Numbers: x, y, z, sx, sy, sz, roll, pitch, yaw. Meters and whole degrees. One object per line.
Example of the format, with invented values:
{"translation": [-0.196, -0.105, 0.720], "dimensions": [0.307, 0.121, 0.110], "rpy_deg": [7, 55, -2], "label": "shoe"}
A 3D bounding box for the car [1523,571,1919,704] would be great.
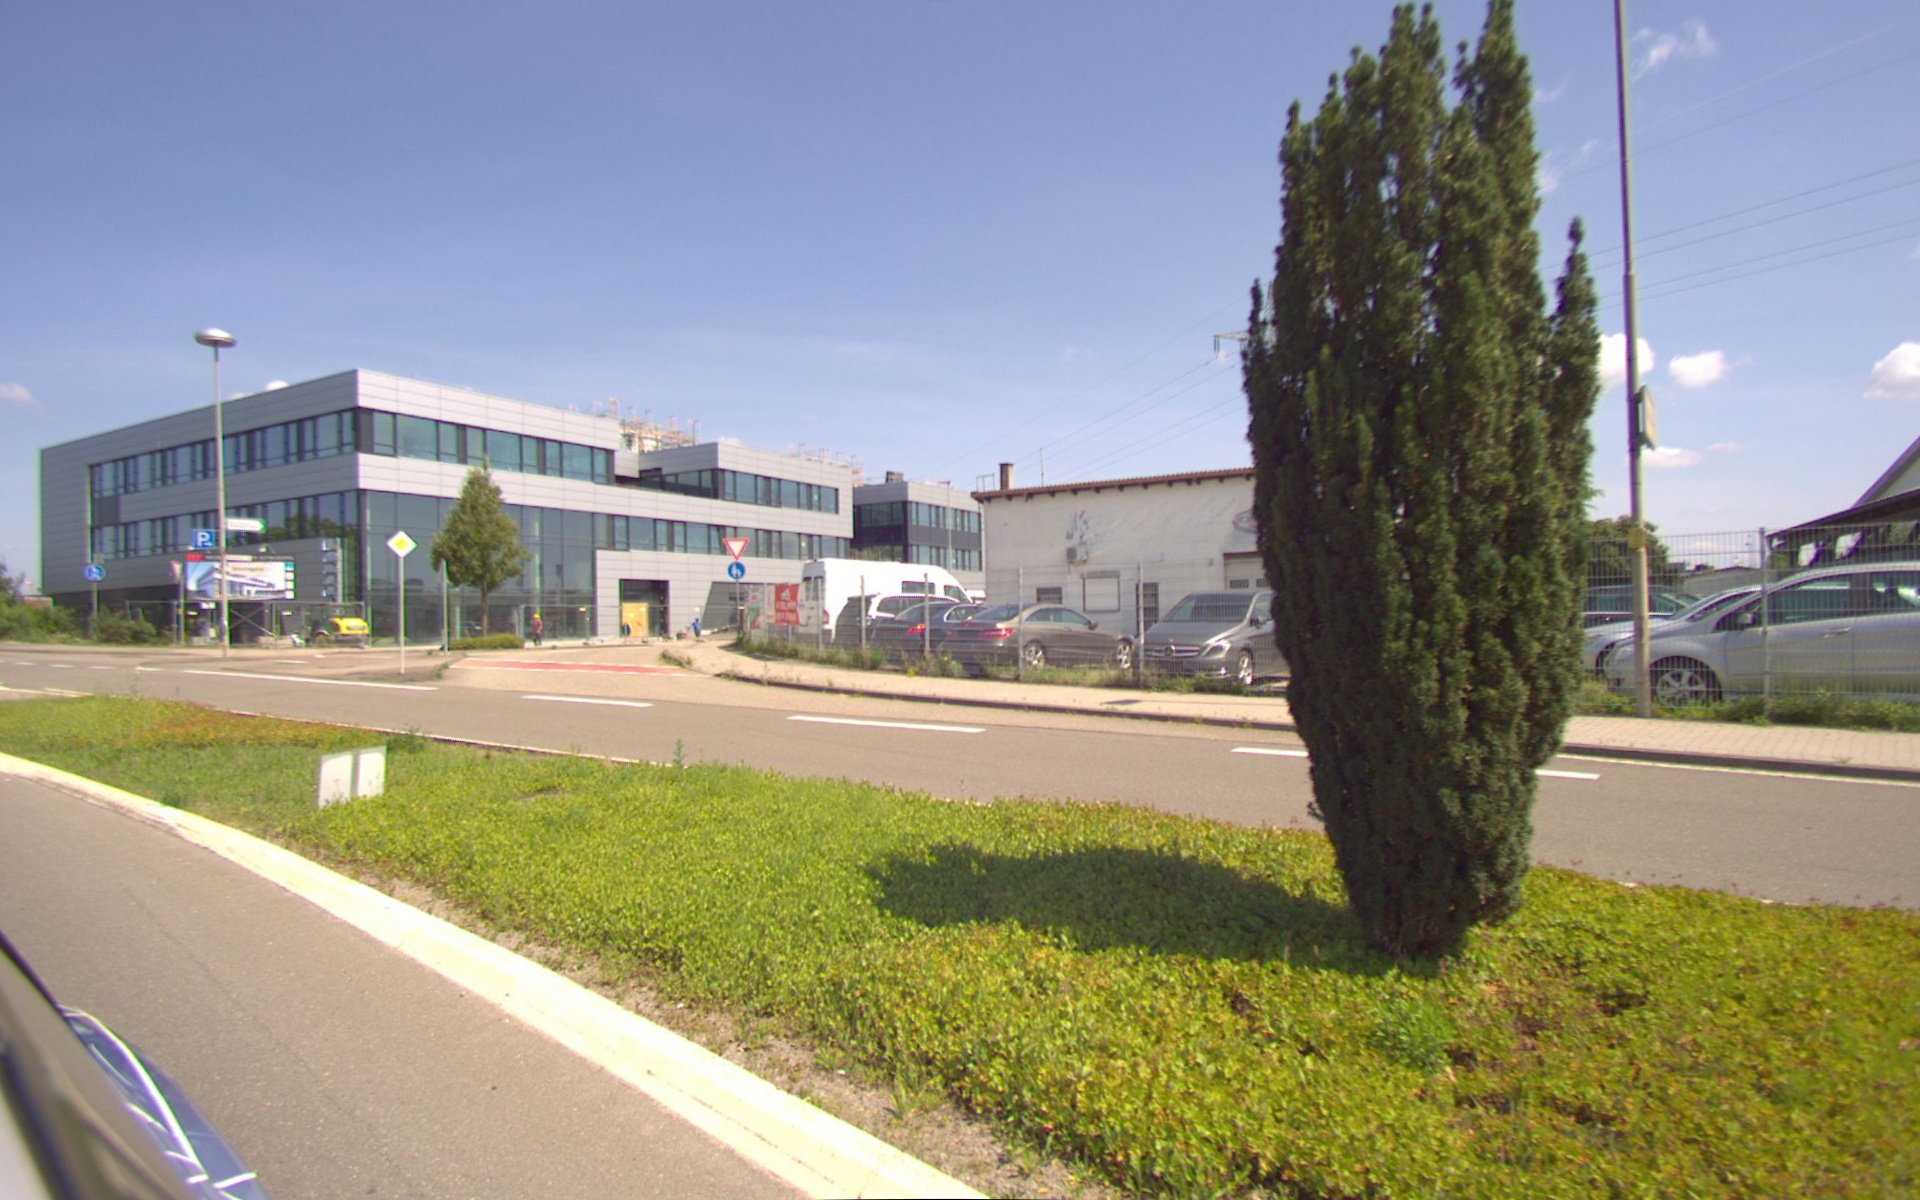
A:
{"translation": [9.471, 0.450, 12.803], "dimensions": [3.988, 1.453, 1.978], "rpy_deg": [-1, -1, 33], "label": "car"}

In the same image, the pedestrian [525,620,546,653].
{"translation": [-22.983, 1.958, 54.788], "dimensions": [0.771, 1.741, 0.775], "rpy_deg": [-1, -1, 28], "label": "pedestrian"}

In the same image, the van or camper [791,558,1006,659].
{"translation": [-1.612, 0.221, 27.550], "dimensions": [5.493, 2.516, 2.085], "rpy_deg": [0, -1, -31], "label": "van or camper"}

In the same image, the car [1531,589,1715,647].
{"translation": [17.730, 0.509, 27.296], "dimensions": [3.987, 1.453, 1.978], "rpy_deg": [-2, -1, 32], "label": "car"}

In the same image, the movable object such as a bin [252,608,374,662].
{"translation": [-30.580, 1.649, 47.850], "dimensions": [5.423, 2.428, 2.156], "rpy_deg": [-1, -1, 22], "label": "movable object such as a bin"}

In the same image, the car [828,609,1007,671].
{"translation": [-0.979, 0.920, 24.314], "dimensions": [3.935, 1.331, 1.839], "rpy_deg": [0, -1, -37], "label": "car"}

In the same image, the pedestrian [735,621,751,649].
{"translation": [-13.609, 2.166, 63.470], "dimensions": [0.711, 1.741, 0.773], "rpy_deg": [-1, -1, 6], "label": "pedestrian"}

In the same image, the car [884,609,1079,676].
{"translation": [0.513, 0.897, 22.516], "dimensions": [3.935, 1.331, 2.004], "rpy_deg": [0, -1, -37], "label": "car"}

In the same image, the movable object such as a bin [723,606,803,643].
{"translation": [-13.888, 1.675, 71.920], "dimensions": [3.351, 2.471, 6.350], "rpy_deg": [-1, -1, 12], "label": "movable object such as a bin"}

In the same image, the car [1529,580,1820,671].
{"translation": [12.434, 0.454, 17.944], "dimensions": [3.987, 1.453, 1.978], "rpy_deg": [-1, -1, 32], "label": "car"}

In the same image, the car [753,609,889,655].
{"translation": [-4.326, 0.984, 31.763], "dimensions": [3.933, 1.331, 1.564], "rpy_deg": [0, -1, -33], "label": "car"}

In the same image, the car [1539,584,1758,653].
{"translation": [15.675, 0.435, 23.297], "dimensions": [3.987, 1.453, 1.978], "rpy_deg": [-1, -1, 32], "label": "car"}

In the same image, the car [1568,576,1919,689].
{"translation": [11.313, 0.460, 14.932], "dimensions": [3.987, 1.453, 1.978], "rpy_deg": [-1, -1, 32], "label": "car"}

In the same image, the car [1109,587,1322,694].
{"translation": [4.308, 0.615, 16.687], "dimensions": [1.997, 1.530, 3.949], "rpy_deg": [-2, -1, 38], "label": "car"}

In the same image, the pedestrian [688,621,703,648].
{"translation": [-17.098, 2.209, 65.355], "dimensions": [0.531, 1.741, 0.766], "rpy_deg": [-1, -1, 31], "label": "pedestrian"}

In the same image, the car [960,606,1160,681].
{"translation": [2.047, 0.815, 20.242], "dimensions": [3.827, 1.331, 1.695], "rpy_deg": [0, -1, -37], "label": "car"}
